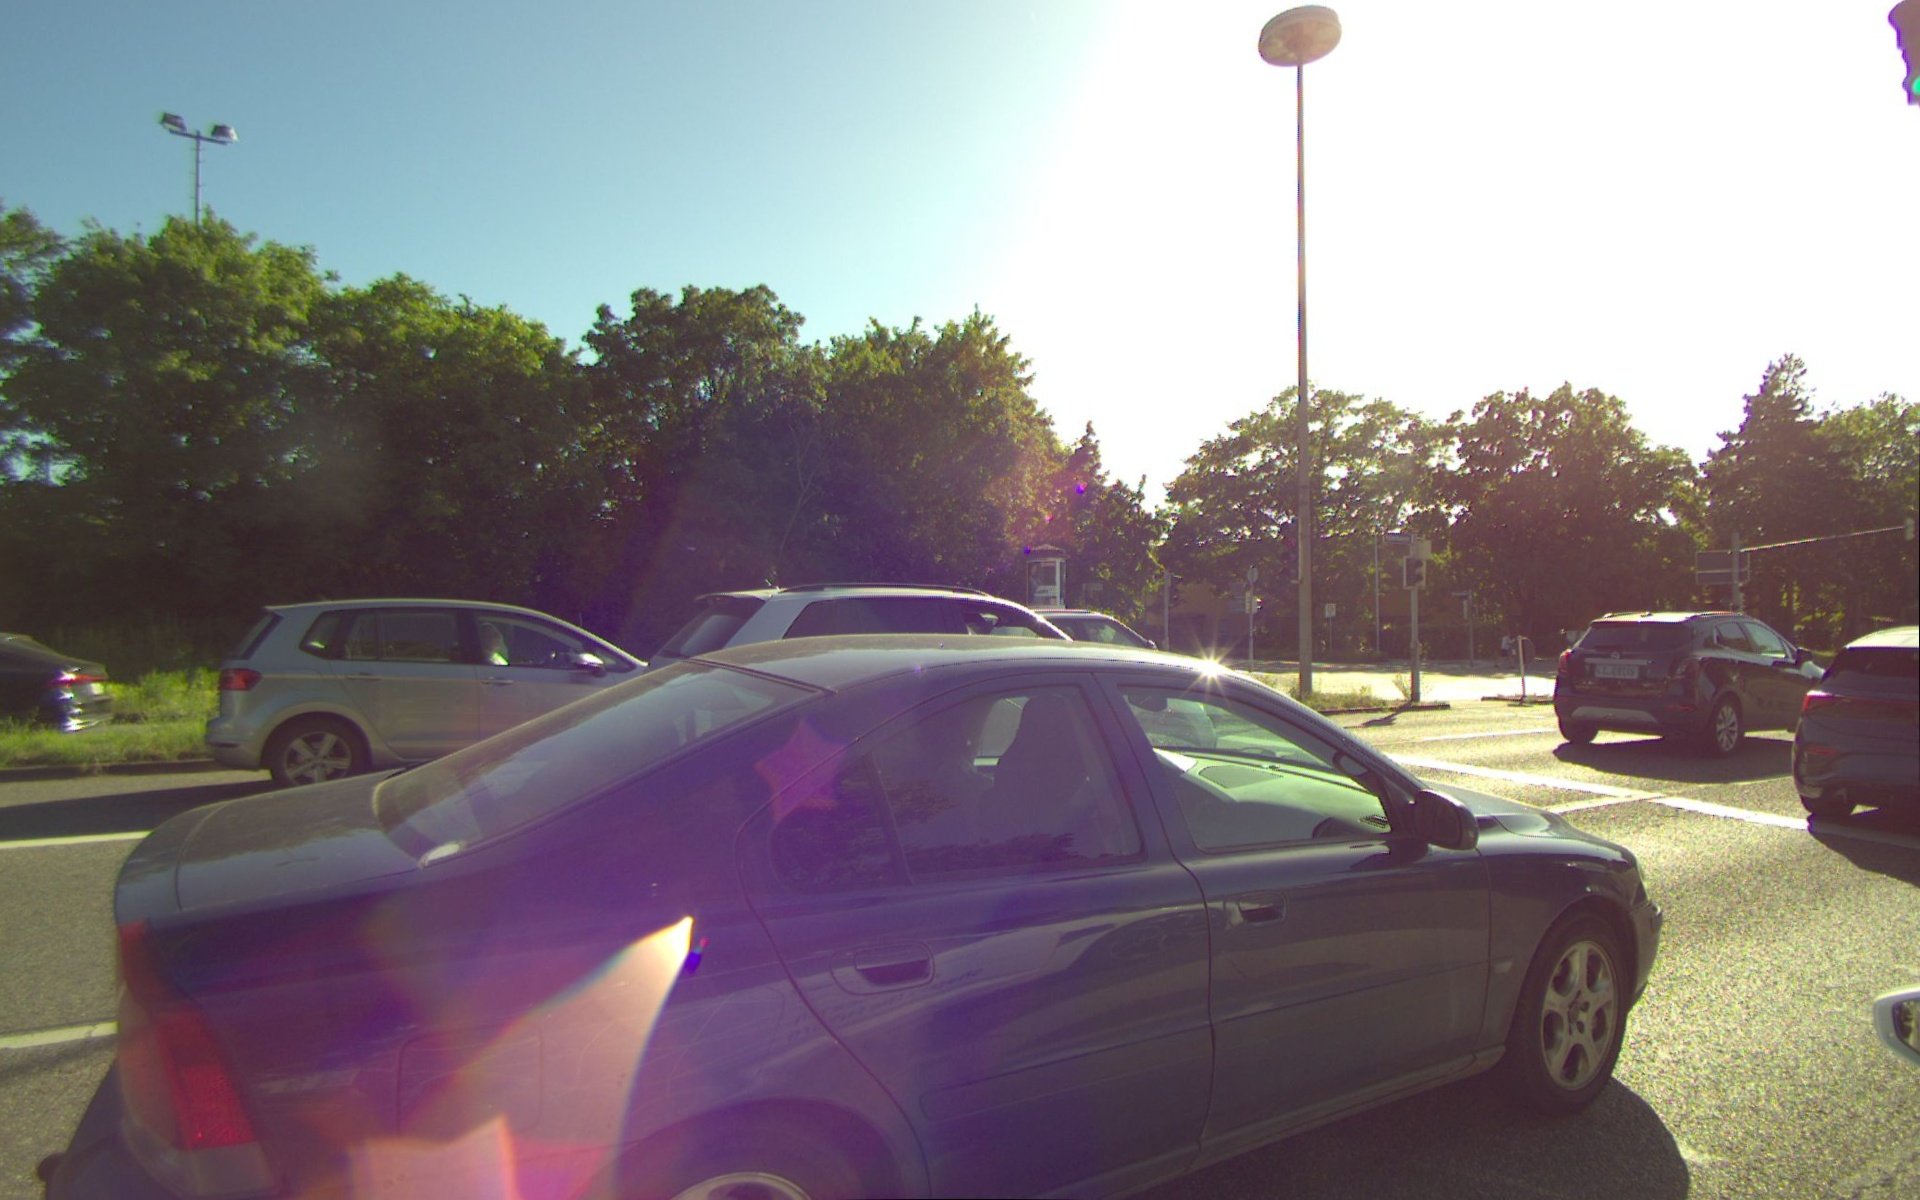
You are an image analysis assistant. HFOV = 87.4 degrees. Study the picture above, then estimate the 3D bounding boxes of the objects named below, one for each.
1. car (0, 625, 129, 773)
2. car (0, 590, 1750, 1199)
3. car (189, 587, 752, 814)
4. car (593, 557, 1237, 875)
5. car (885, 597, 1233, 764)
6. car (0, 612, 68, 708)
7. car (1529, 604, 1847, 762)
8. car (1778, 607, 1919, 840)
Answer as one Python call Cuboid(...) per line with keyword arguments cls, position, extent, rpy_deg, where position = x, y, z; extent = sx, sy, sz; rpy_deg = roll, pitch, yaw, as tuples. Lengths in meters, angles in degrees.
Cuboid(cls="car", position=(-11.289, 0.991, 10.185), extent=(4.116, 1.482, 1.768), rpy_deg=(1, -2, -30))
Cuboid(cls="car", position=(0.286, 0.794, 3.010), extent=(4.404, 1.471, 1.767), rpy_deg=(2, 0, -30))
Cuboid(cls="car", position=(-4.174, 0.796, 9.077), extent=(4.156, 1.632, 1.822), rpy_deg=(1, -2, -30))
Cuboid(cls="car", position=(-0.253, 0.706, 7.451), extent=(4.373, 1.732, 1.984), rpy_deg=(1, -2, -30))
Cuboid(cls="car", position=(1.257, 0.904, 12.240), extent=(3.956, 1.724, 1.820), rpy_deg=(2, -2, -32))
Cuboid(cls="car", position=(-14.102, 0.768, 12.976), extent=(3.593, 1.251, 1.383), rpy_deg=(1, -2, -30))
Cuboid(cls="car", position=(9.188, 0.966, 12.635), extent=(3.953, 1.711, 1.796), rpy_deg=(1, -2, -30))
Cuboid(cls="car", position=(8.433, 0.918, 7.961), extent=(4.158, 1.601, 1.676), rpy_deg=(2, -1, -30))
